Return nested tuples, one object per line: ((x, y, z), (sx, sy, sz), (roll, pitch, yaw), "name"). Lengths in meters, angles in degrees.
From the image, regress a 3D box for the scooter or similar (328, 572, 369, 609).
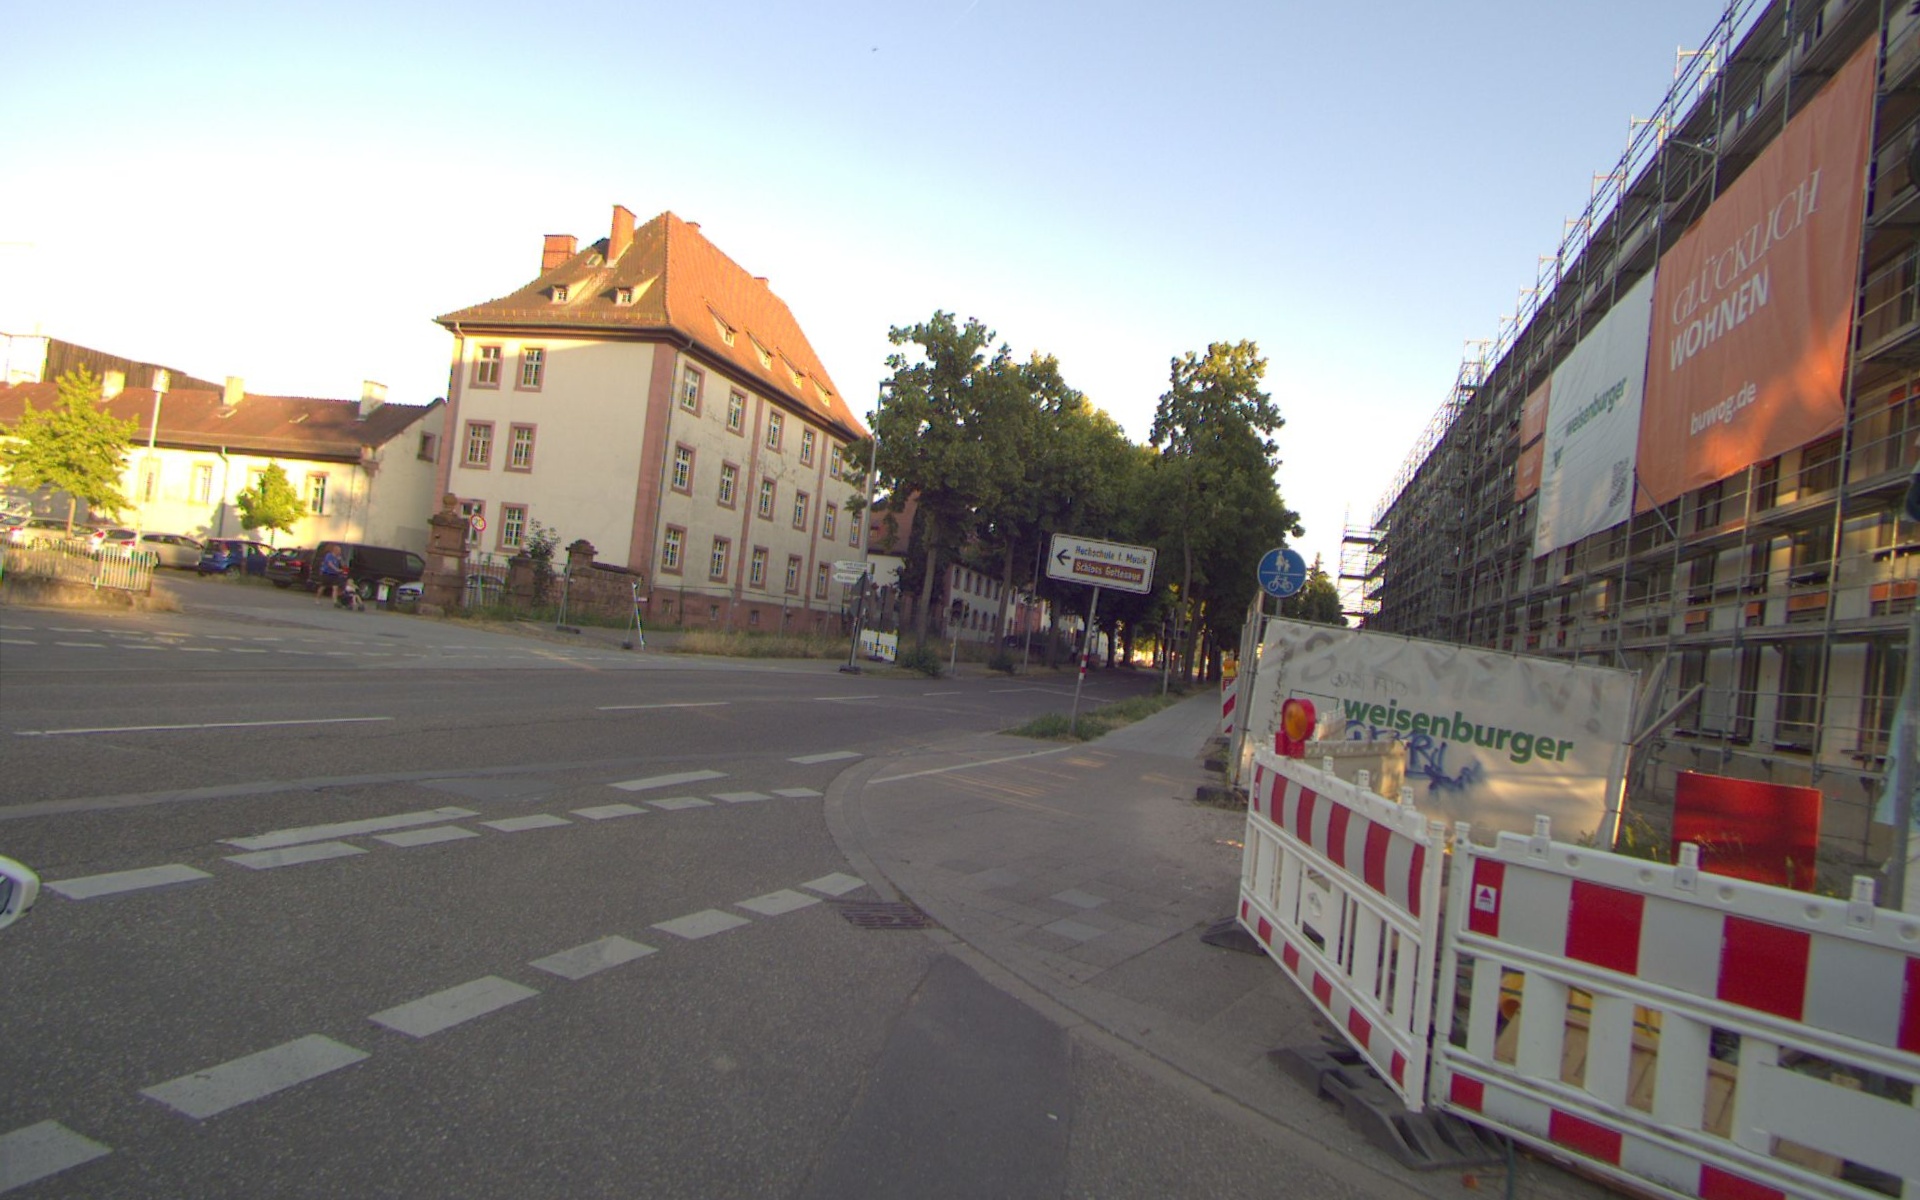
((-17.073, -0.259, 28.089), (0.791, 0.901, 0.516), (6, -1, 18), "scooter or similar")

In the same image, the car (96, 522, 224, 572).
((-32.677, -2.128, 41.204), (1.655, 1.462, 3.757), (6, -2, 15), "car")

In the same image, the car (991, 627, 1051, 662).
((4.452, 3.258, 73.118), (3.924, 2.037, 2.002), (7, -1, 13), "car")

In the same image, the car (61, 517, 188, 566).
((-35.015, -2.406, 42.282), (1.655, 1.462, 3.757), (6, -2, 15), "car")

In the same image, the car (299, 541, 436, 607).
((-21.846, -0.913, 37.276), (1.962, 1.880, 4.005), (6, -2, 15), "car")

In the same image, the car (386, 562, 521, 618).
((-17.710, -0.319, 35.420), (1.962, 1.476, 4.005), (6, -2, 15), "car")

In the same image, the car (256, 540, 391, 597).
((-24.249, -1.159, 38.501), (1.962, 1.591, 4.005), (6, -2, 15), "car")

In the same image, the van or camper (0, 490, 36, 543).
((-45.624, -4.117, 45.777), (1.655, 2.266, 4.984), (6, -2, 15), "van or camper")

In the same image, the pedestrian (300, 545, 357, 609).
((-17.908, -0.654, 28.518), (0.995, 1.661, 0.752), (6, -1, 19), "pedestrian")

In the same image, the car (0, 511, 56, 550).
((-42.640, -3.236, 44.365), (1.655, 1.462, 3.757), (6, -2, 15), "car")

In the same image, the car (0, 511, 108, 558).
((-38.976, -2.805, 42.835), (1.655, 1.462, 3.757), (6, -2, 15), "car")

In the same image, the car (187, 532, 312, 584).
((-28.175, -1.624, 40.017), (1.655, 1.546, 3.757), (6, -2, 15), "car")
